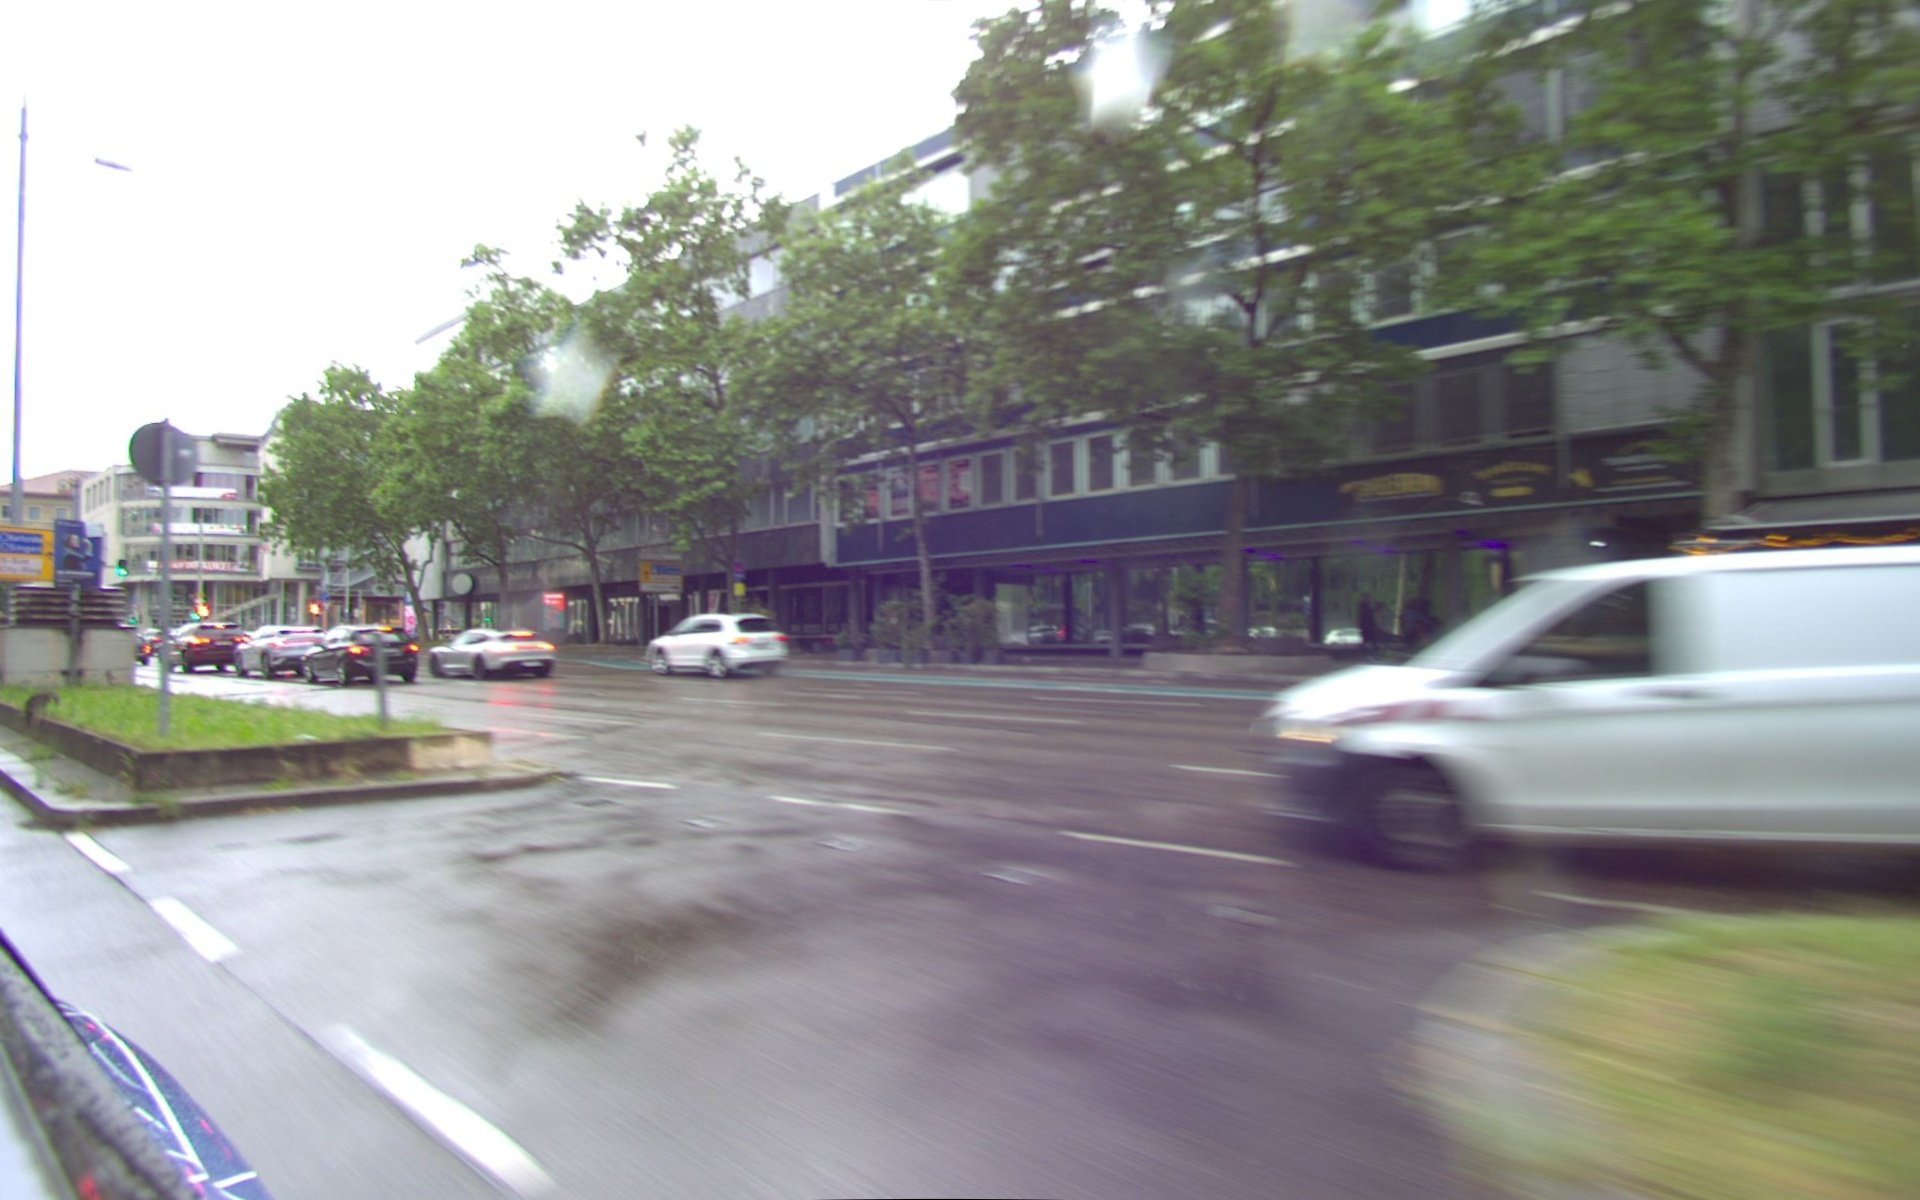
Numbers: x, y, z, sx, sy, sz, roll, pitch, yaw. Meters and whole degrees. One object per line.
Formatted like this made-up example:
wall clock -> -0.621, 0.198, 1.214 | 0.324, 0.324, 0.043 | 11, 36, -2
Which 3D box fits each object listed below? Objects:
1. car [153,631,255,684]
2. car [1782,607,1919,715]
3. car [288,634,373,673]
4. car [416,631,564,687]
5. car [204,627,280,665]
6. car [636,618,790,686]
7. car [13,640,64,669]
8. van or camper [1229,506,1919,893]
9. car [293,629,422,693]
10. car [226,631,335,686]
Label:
car -> -27.604, 2.071, 36.890 | 5.103, 1.780, 1.817 | -3, -2, 39
car -> 13.488, 0.744, 12.829 | 4.680, 1.364, 1.543 | -3, -2, 41
car -> -28.599, 2.435, 45.941 | 4.582, 1.458, 1.872 | -6, -5, 39
car -> -13.377, 1.646, 28.646 | 4.953, 1.420, 1.946 | -3, -2, 41
car -> -32.137, 2.048, 45.250 | 3.994, 1.577, 1.736 | -2, -1, 38
car -> -6.710, 1.384, 27.204 | 4.545, 1.627, 1.742 | -3, -2, 42
car -> -51.065, 3.021, 56.092 | 3.429, 1.487, 1.699 | -3, -2, 41
van or camper -> 4.490, 0.535, 6.249 | 5.217, 1.928, 1.985 | -2, -2, 23
car -> -16.480, 1.624, 27.573 | 4.542, 1.564, 1.893 | -3, -2, 44
car -> -21.613, 1.838, 32.106 | 4.829, 1.585, 1.716 | -3, -2, 41
